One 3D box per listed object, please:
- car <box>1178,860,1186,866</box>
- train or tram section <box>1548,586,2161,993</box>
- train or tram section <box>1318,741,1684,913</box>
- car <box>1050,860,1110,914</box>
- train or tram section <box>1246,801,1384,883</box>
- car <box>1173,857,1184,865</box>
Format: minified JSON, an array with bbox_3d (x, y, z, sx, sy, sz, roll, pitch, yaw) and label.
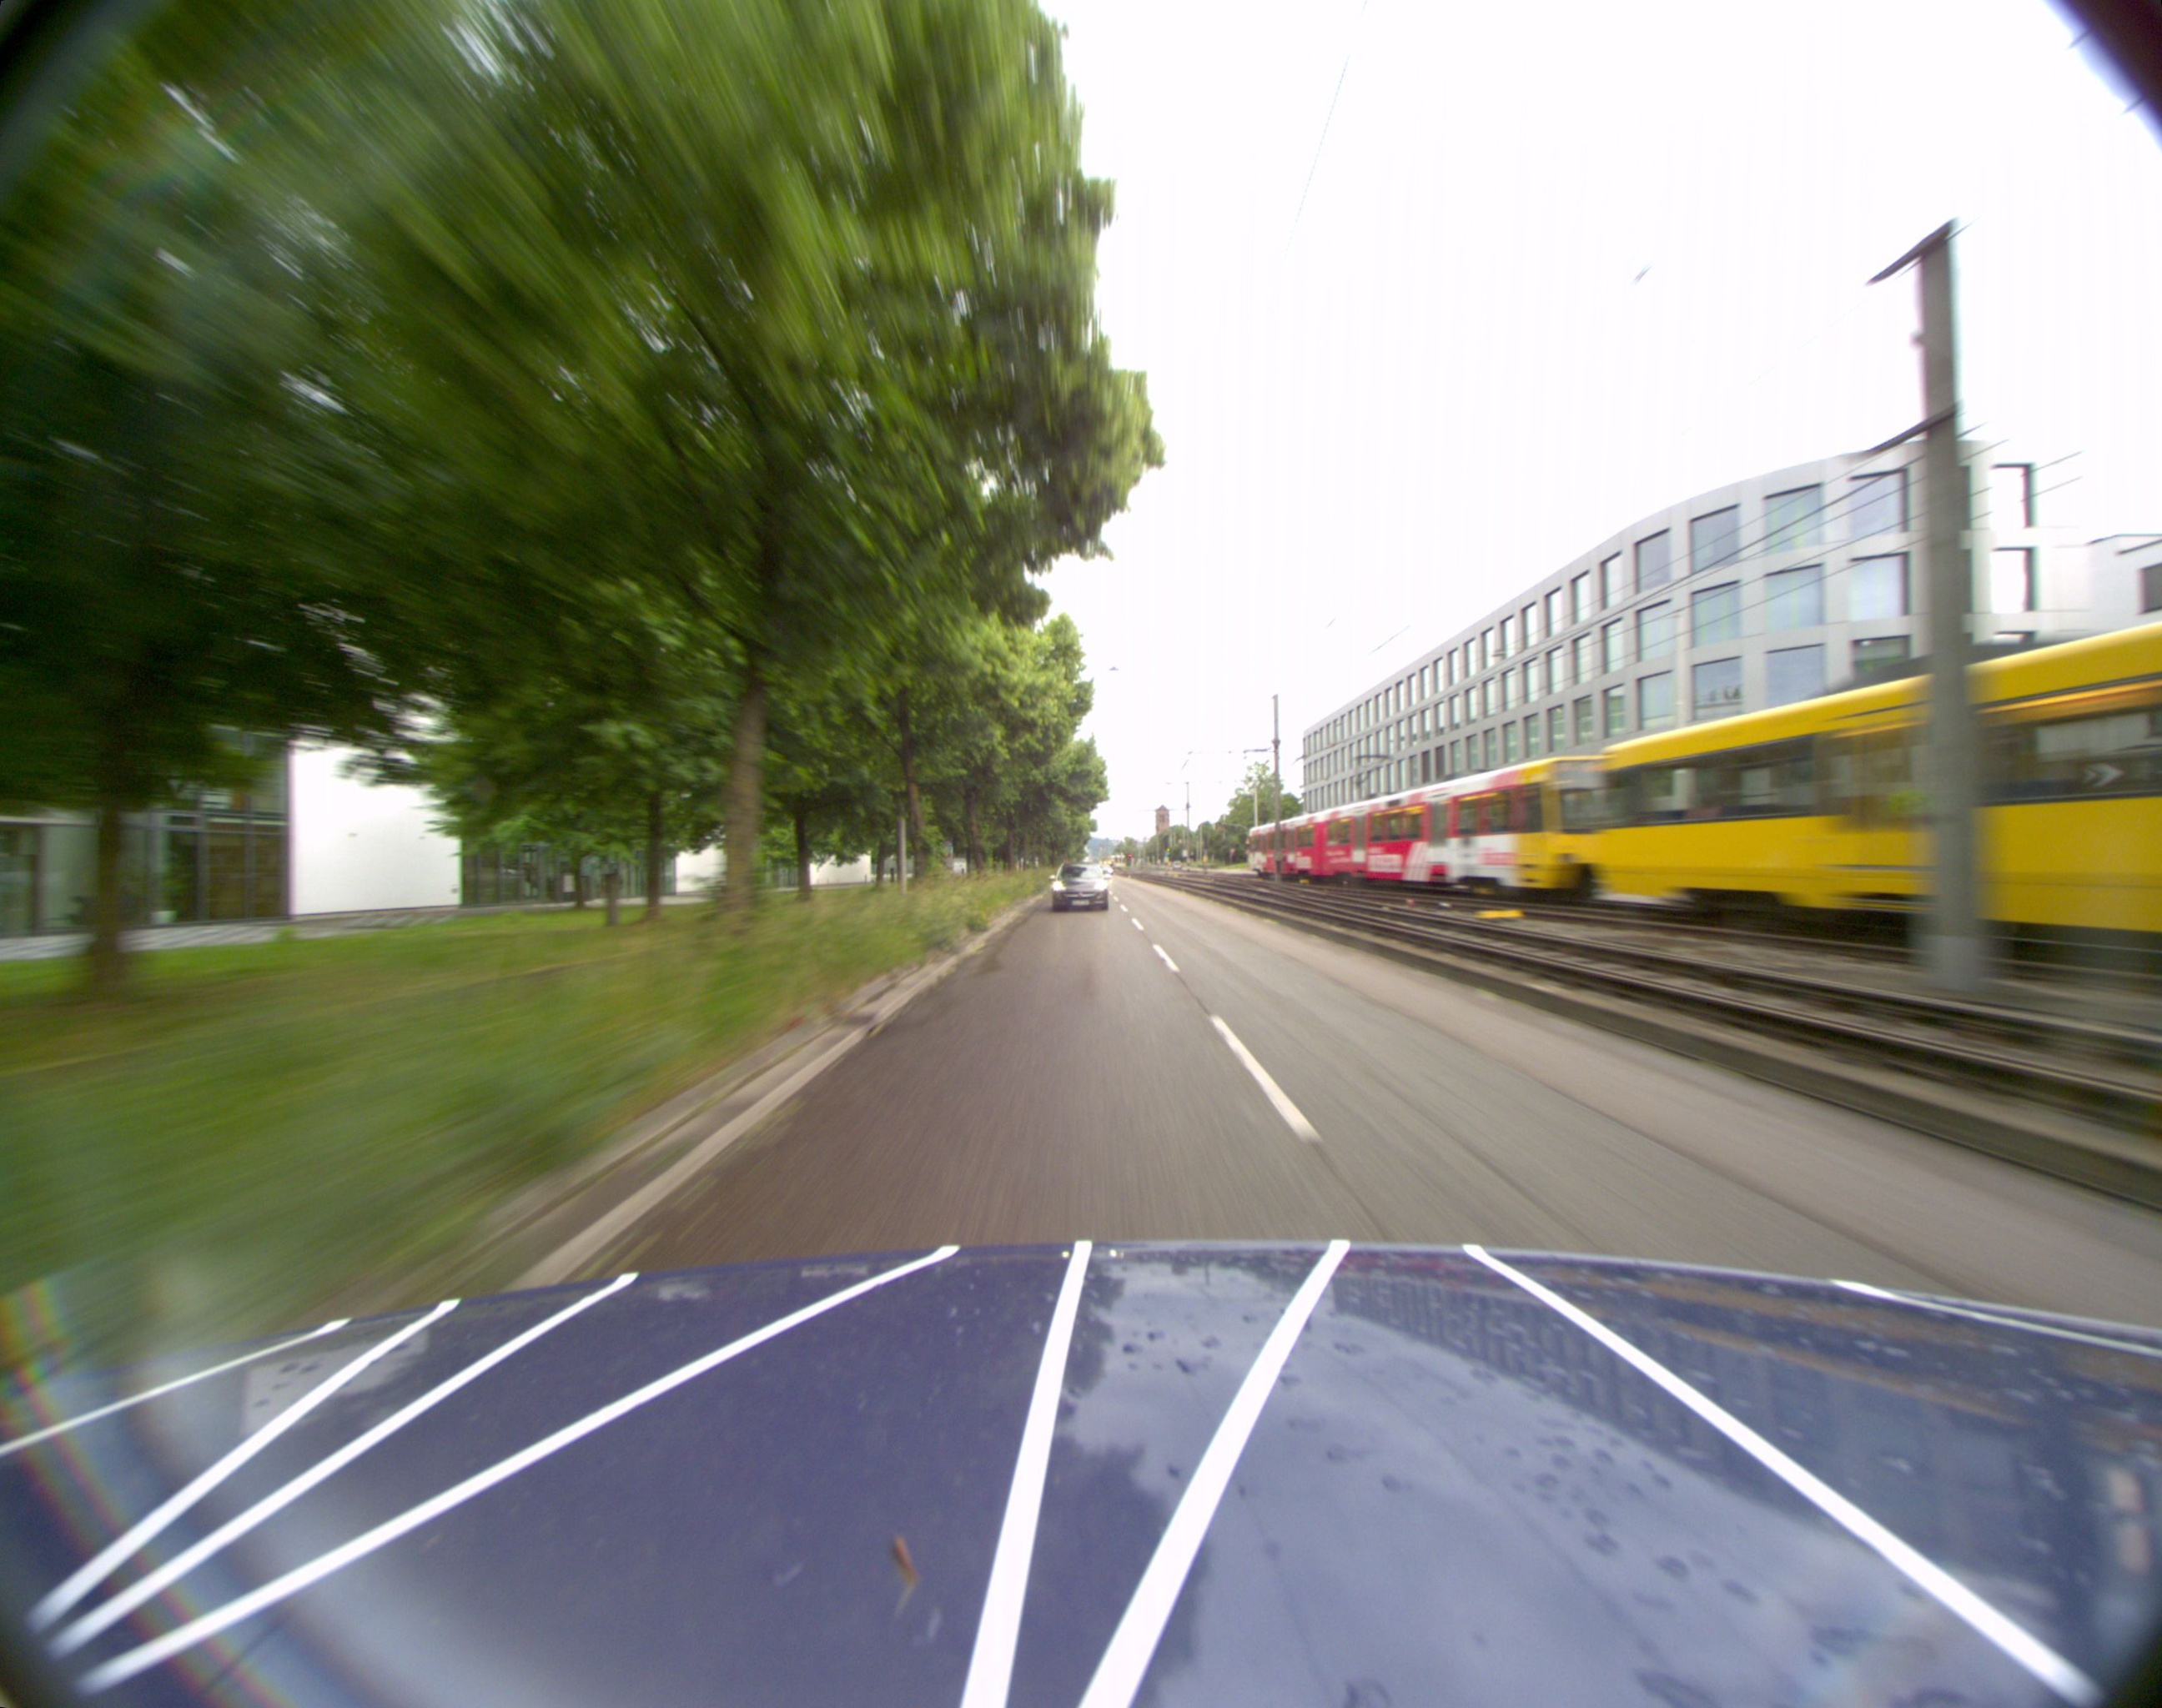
[{"bbox_3d":[26.907,2.439,202.036,1.775,1.540,3.564,-2,-1,2],"label":"car"},{"bbox_3d":[11.569,-0.629,7.342,2.974,3.788,19.101,-1,0,2],"label":"train or tram section"},{"bbox_3d":[12.278,-0.565,26.306,2.974,3.788,18.617,-1,0,2],"label":"train or tram section"},{"bbox_3d":[0.042,0.991,24.524,1.698,1.439,4.420,-3,0,2],"label":"car"},{"bbox_3d":[12.995,-0.513,44.917,2.974,3.788,18.617,-1,0,2],"label":"train or tram section"},{"bbox_3d":[20.955,1.599,163.271,1.812,1.627,3.564,-2,-1,1],"label":"car"}]
